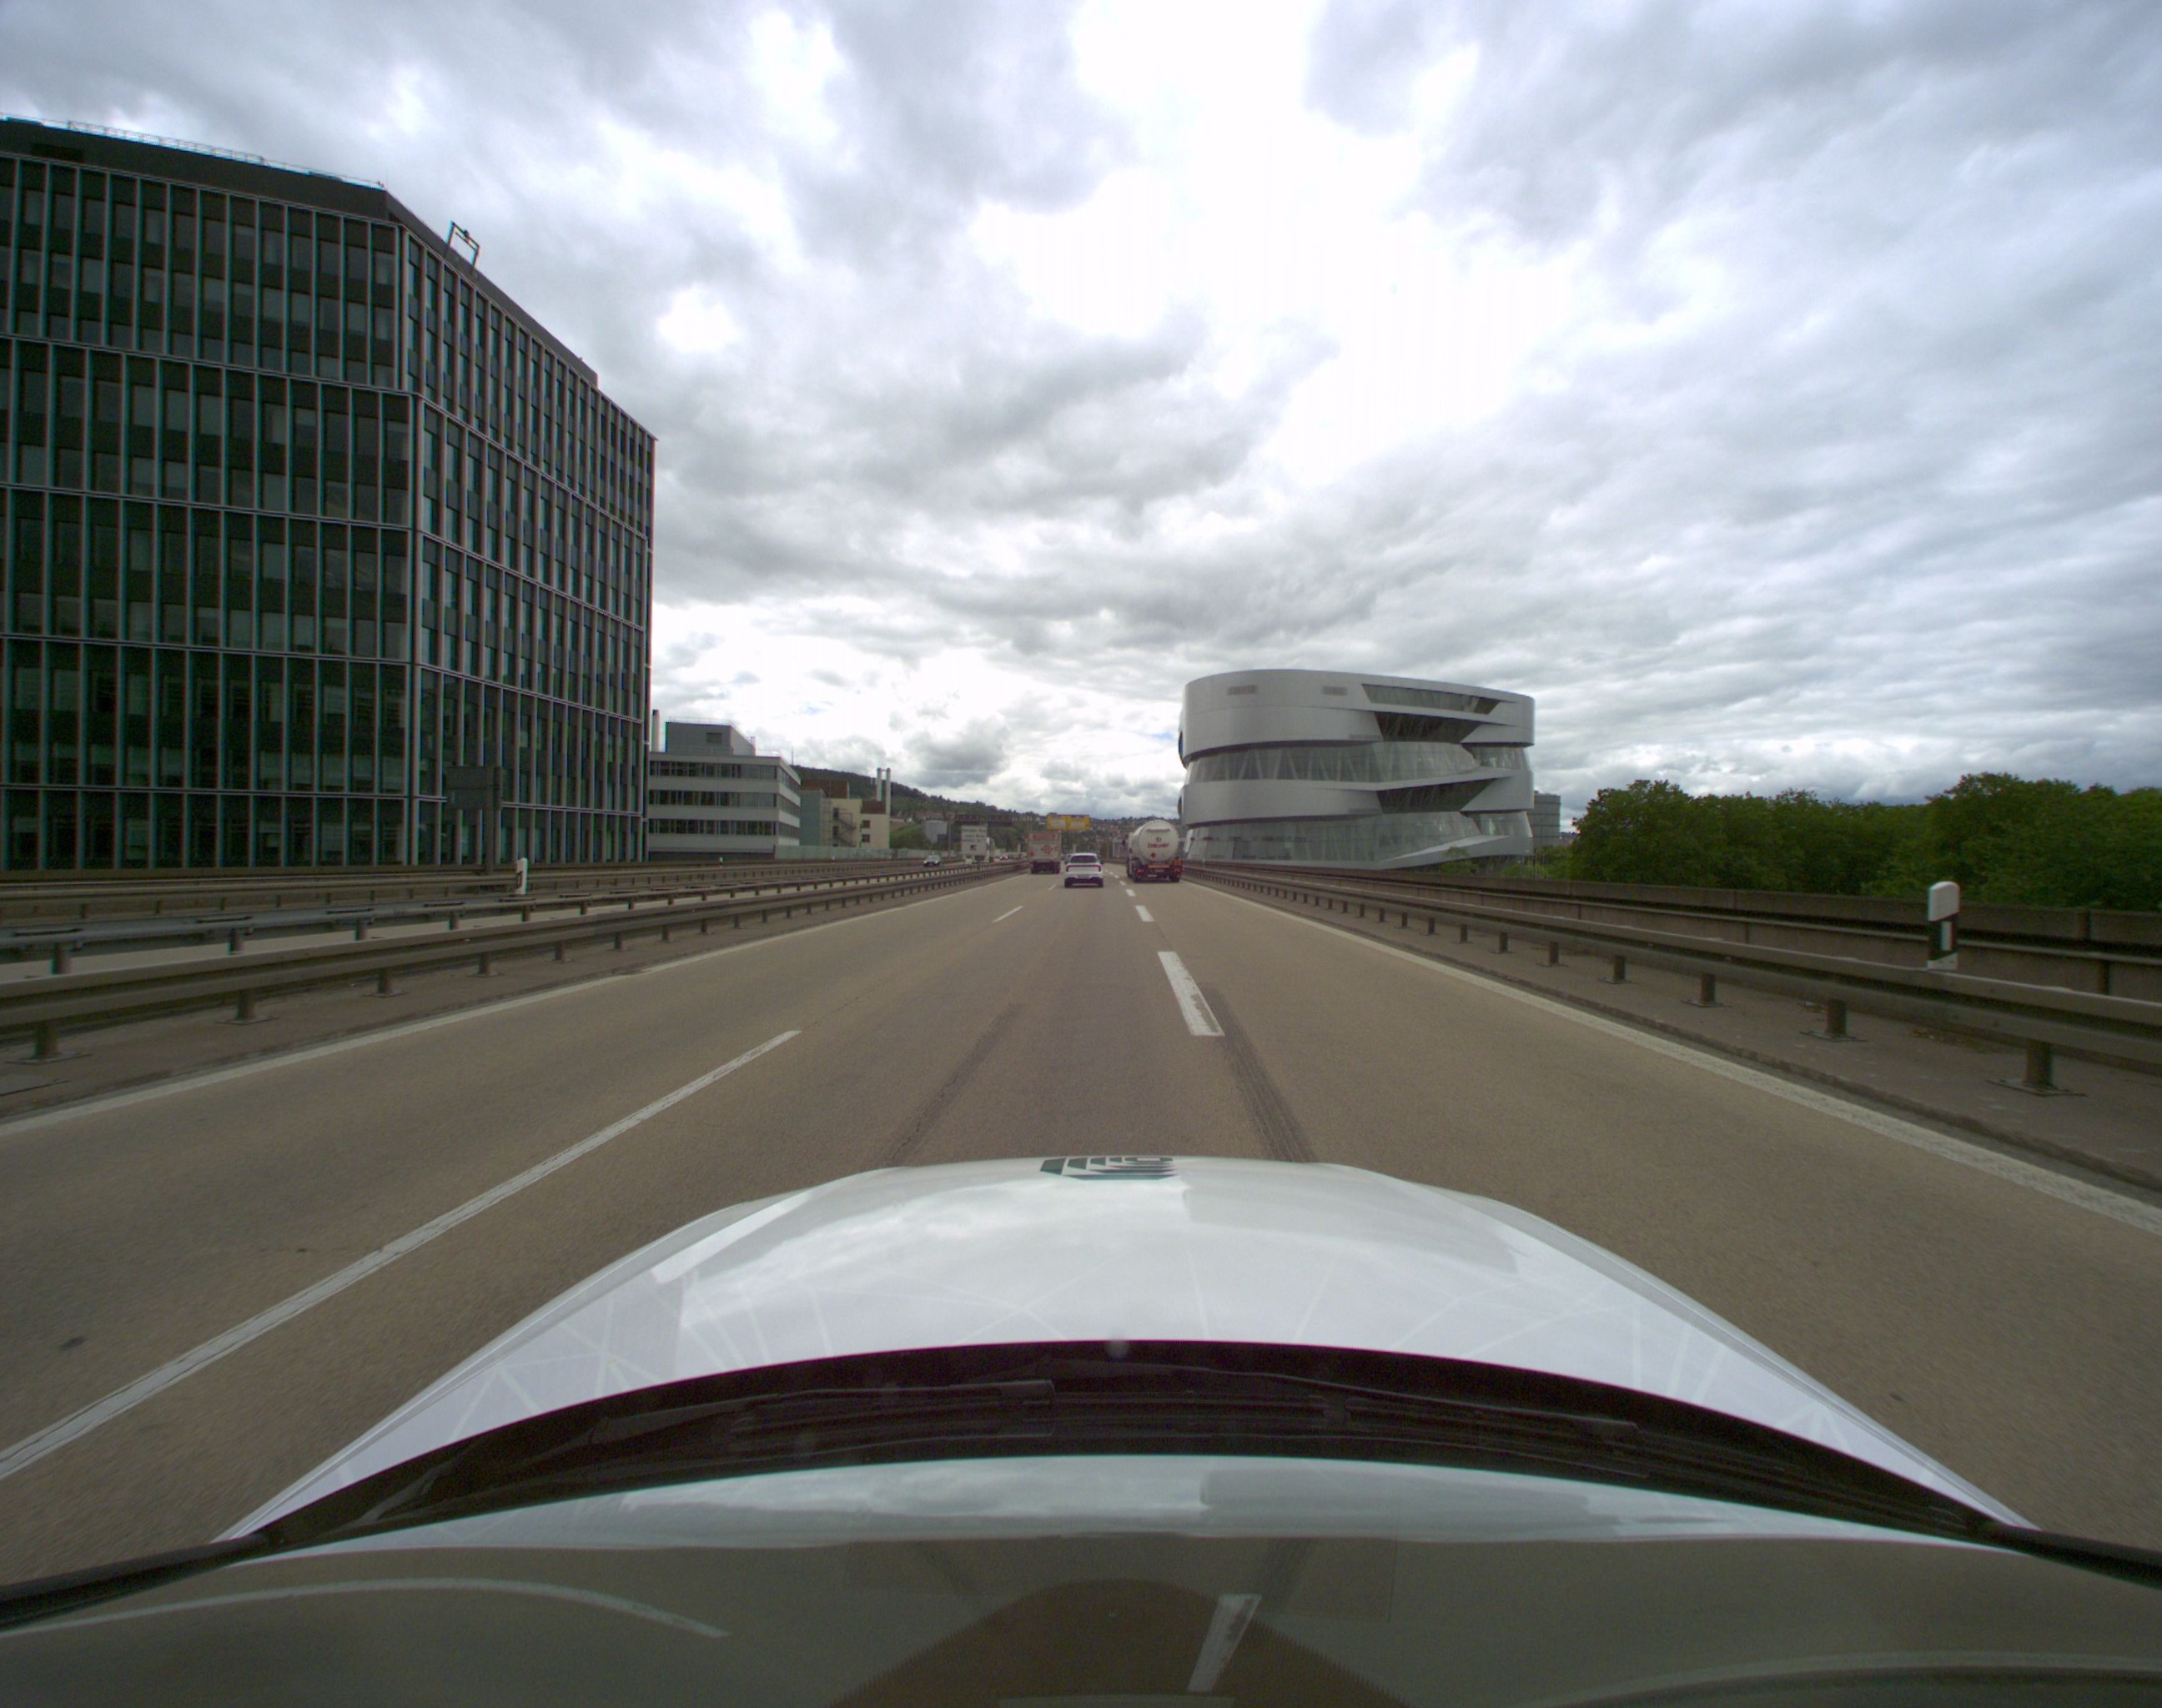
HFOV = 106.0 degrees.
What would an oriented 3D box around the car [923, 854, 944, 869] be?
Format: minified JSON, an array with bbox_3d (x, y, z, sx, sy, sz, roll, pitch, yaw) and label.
[{"bbox_3d":[-17.147,0.859,94.770,1.678,1.650,4.358,1,-1,-1],"label":"car"}]

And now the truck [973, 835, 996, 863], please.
[{"bbox_3d":[-14.334,-0.656,121.605,2.764,4.079,5.643,-1,-1,-1],"label":"truck"}]

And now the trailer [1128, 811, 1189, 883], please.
[{"bbox_3d":[4.360,-0.318,47.427,3.045,3.790,8.308,-1,-1,3],"label":"trailer"}]

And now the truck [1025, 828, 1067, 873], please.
[{"bbox_3d":[-2.933,-0.224,70.945,3.046,3.691,8.305,-1,-1,1],"label":"truck"}]

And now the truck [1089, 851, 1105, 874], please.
[{"bbox_3d":[3.243,1.803,168.112,3.048,4.562,8.299,-1,-1,-1],"label":"truck"}]

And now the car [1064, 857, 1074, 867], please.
[{"bbox_3d":[-2.017,1.378,139.118,1.678,1.650,4.358,1,-1,-1],"label":"car"}]

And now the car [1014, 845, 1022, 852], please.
[{"bbox_3d":[-16.048,-1.348,208.721,1.990,1.606,4.800,-1,-1,-4],"label":"car"}]

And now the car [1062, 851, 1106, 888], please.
[{"bbox_3d":[0.193,0.756,40.510,1.986,1.675,4.410,-1,-1,2],"label":"car"}]

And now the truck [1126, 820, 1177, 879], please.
[{"bbox_3d":[4.569,-0.258,53.805,3.003,3.657,6.275,-1,-1,2],"label":"truck"}]

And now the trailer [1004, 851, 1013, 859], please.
[{"bbox_3d":[-17.631,0.207,198.367,1.988,2.014,3.998,-1,-1,-1],"label":"trailer"}]
